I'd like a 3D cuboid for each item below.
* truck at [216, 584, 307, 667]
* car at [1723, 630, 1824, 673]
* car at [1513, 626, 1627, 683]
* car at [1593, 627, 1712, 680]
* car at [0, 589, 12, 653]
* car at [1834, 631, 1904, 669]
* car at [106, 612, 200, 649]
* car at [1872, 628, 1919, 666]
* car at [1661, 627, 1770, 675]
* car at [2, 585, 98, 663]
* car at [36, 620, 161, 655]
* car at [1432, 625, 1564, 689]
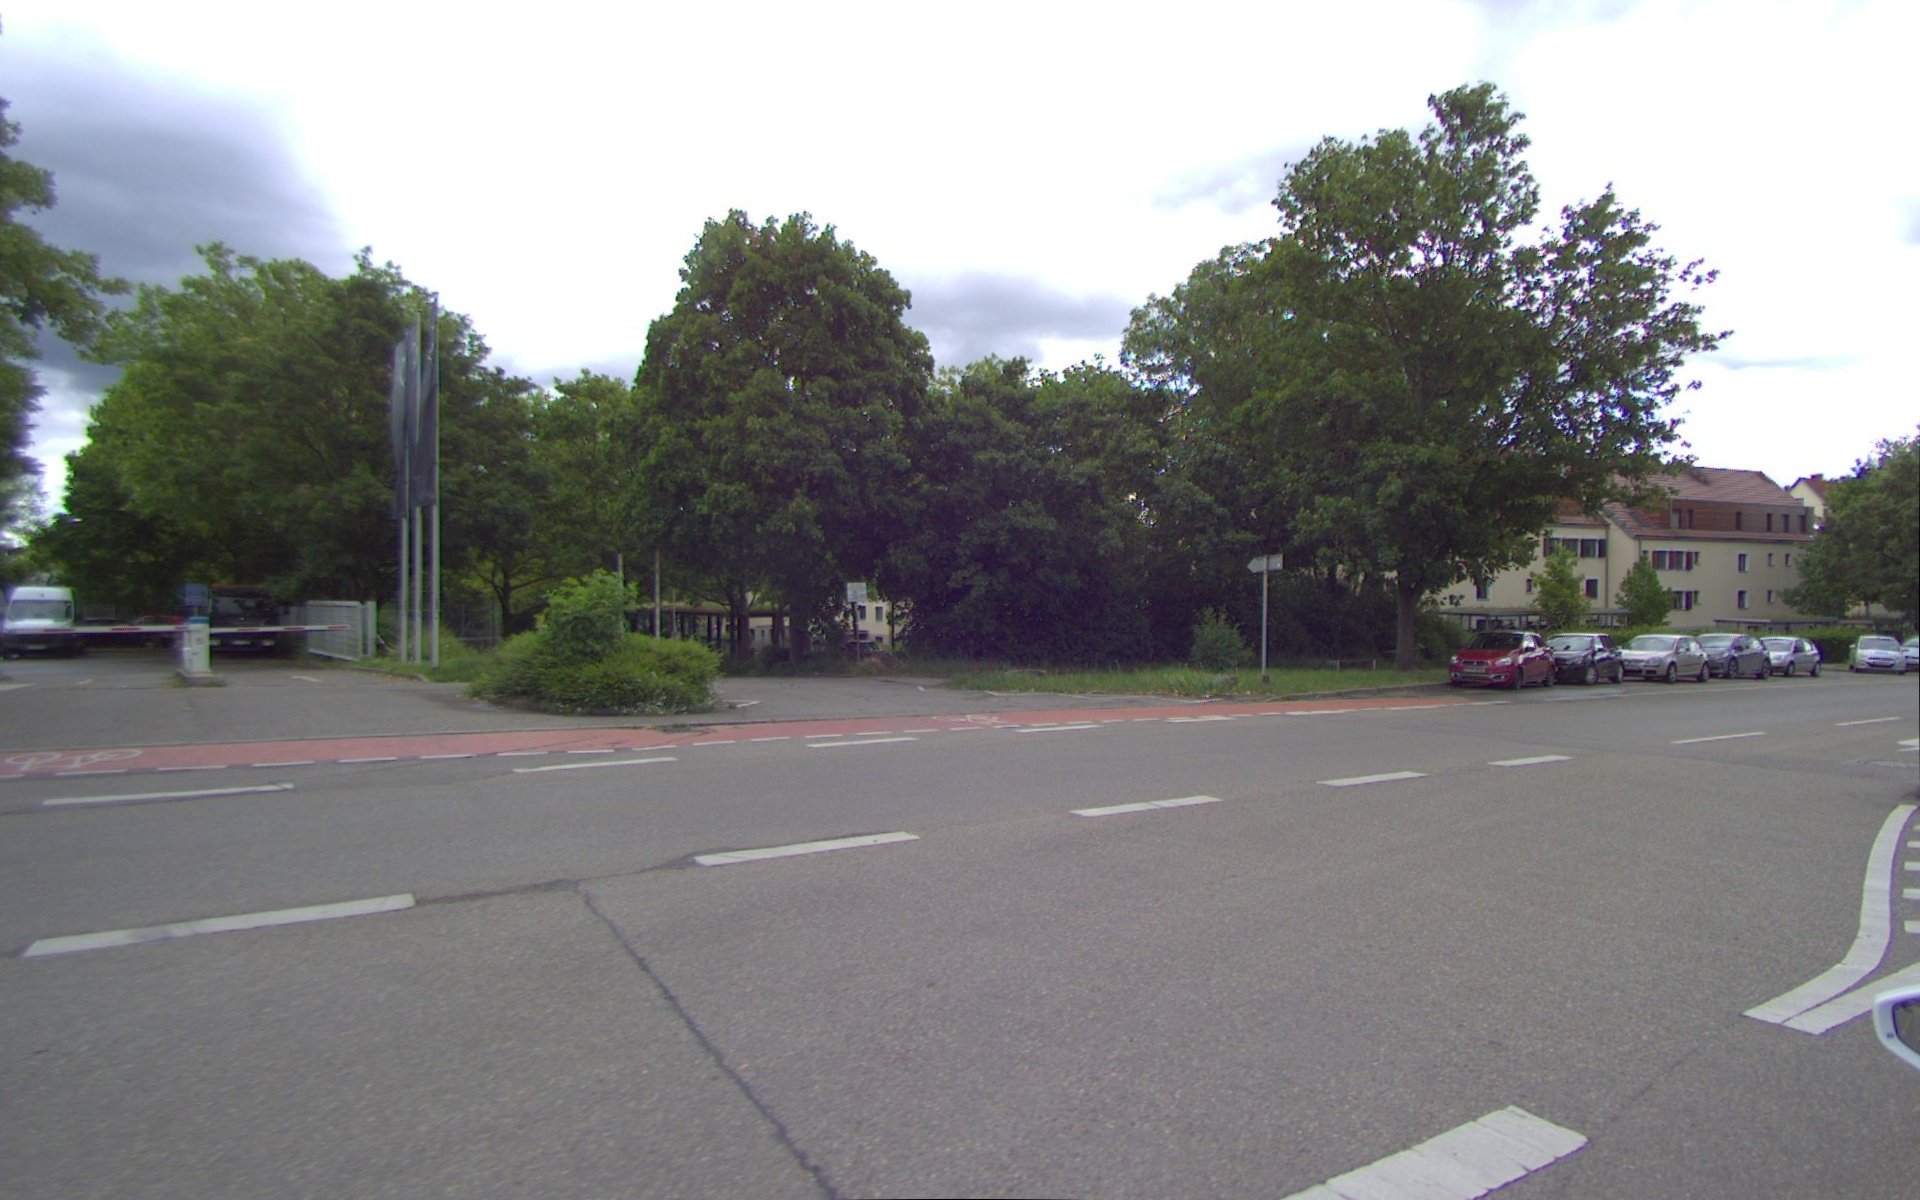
[{"bbox_3d":[-27.804,0.927,39.950,2.684,3.009,6.730,2,-1,-36],"label":"truck"},{"bbox_3d":[31.037,1.921,38.300,3.956,1.527,1.865,1,-1,-33],"label":"car"},{"bbox_3d":[17.983,1.556,29.543,3.972,1.527,1.857,2,-1,-43],"label":"car"},{"bbox_3d":[22.094,1.662,32.007,4.016,1.527,1.863,2,0,-35],"label":"car"},{"bbox_3d":[-36.762,0.792,36.867,1.981,2.445,6.889,2,-1,-36],"label":"car"},{"bbox_3d":[38.961,2.101,43.126,1.851,1.527,3.985,0,-1,37],"label":"car"},{"bbox_3d":[-46.405,1.772,57.883,3.957,2.040,1.893,2,-1,-33],"label":"car"},{"bbox_3d":[43.268,2.154,45.308,3.949,1.618,1.868,3,-1,-27],"label":"car"},{"bbox_3d":[26.614,1.759,35.371,3.957,1.527,1.864,1,0,-33],"label":"car"},{"bbox_3d":[-34.684,0.833,38.465,1.981,2.722,6.889,2,-1,-36],"label":"car"},{"bbox_3d":[-37.657,1.636,44.037,3.963,1.429,1.979,2,-1,-37],"label":"car"},{"bbox_3d":[14.436,1.465,26.890,3.858,1.527,1.859,1,0,-41],"label":"car"}]
